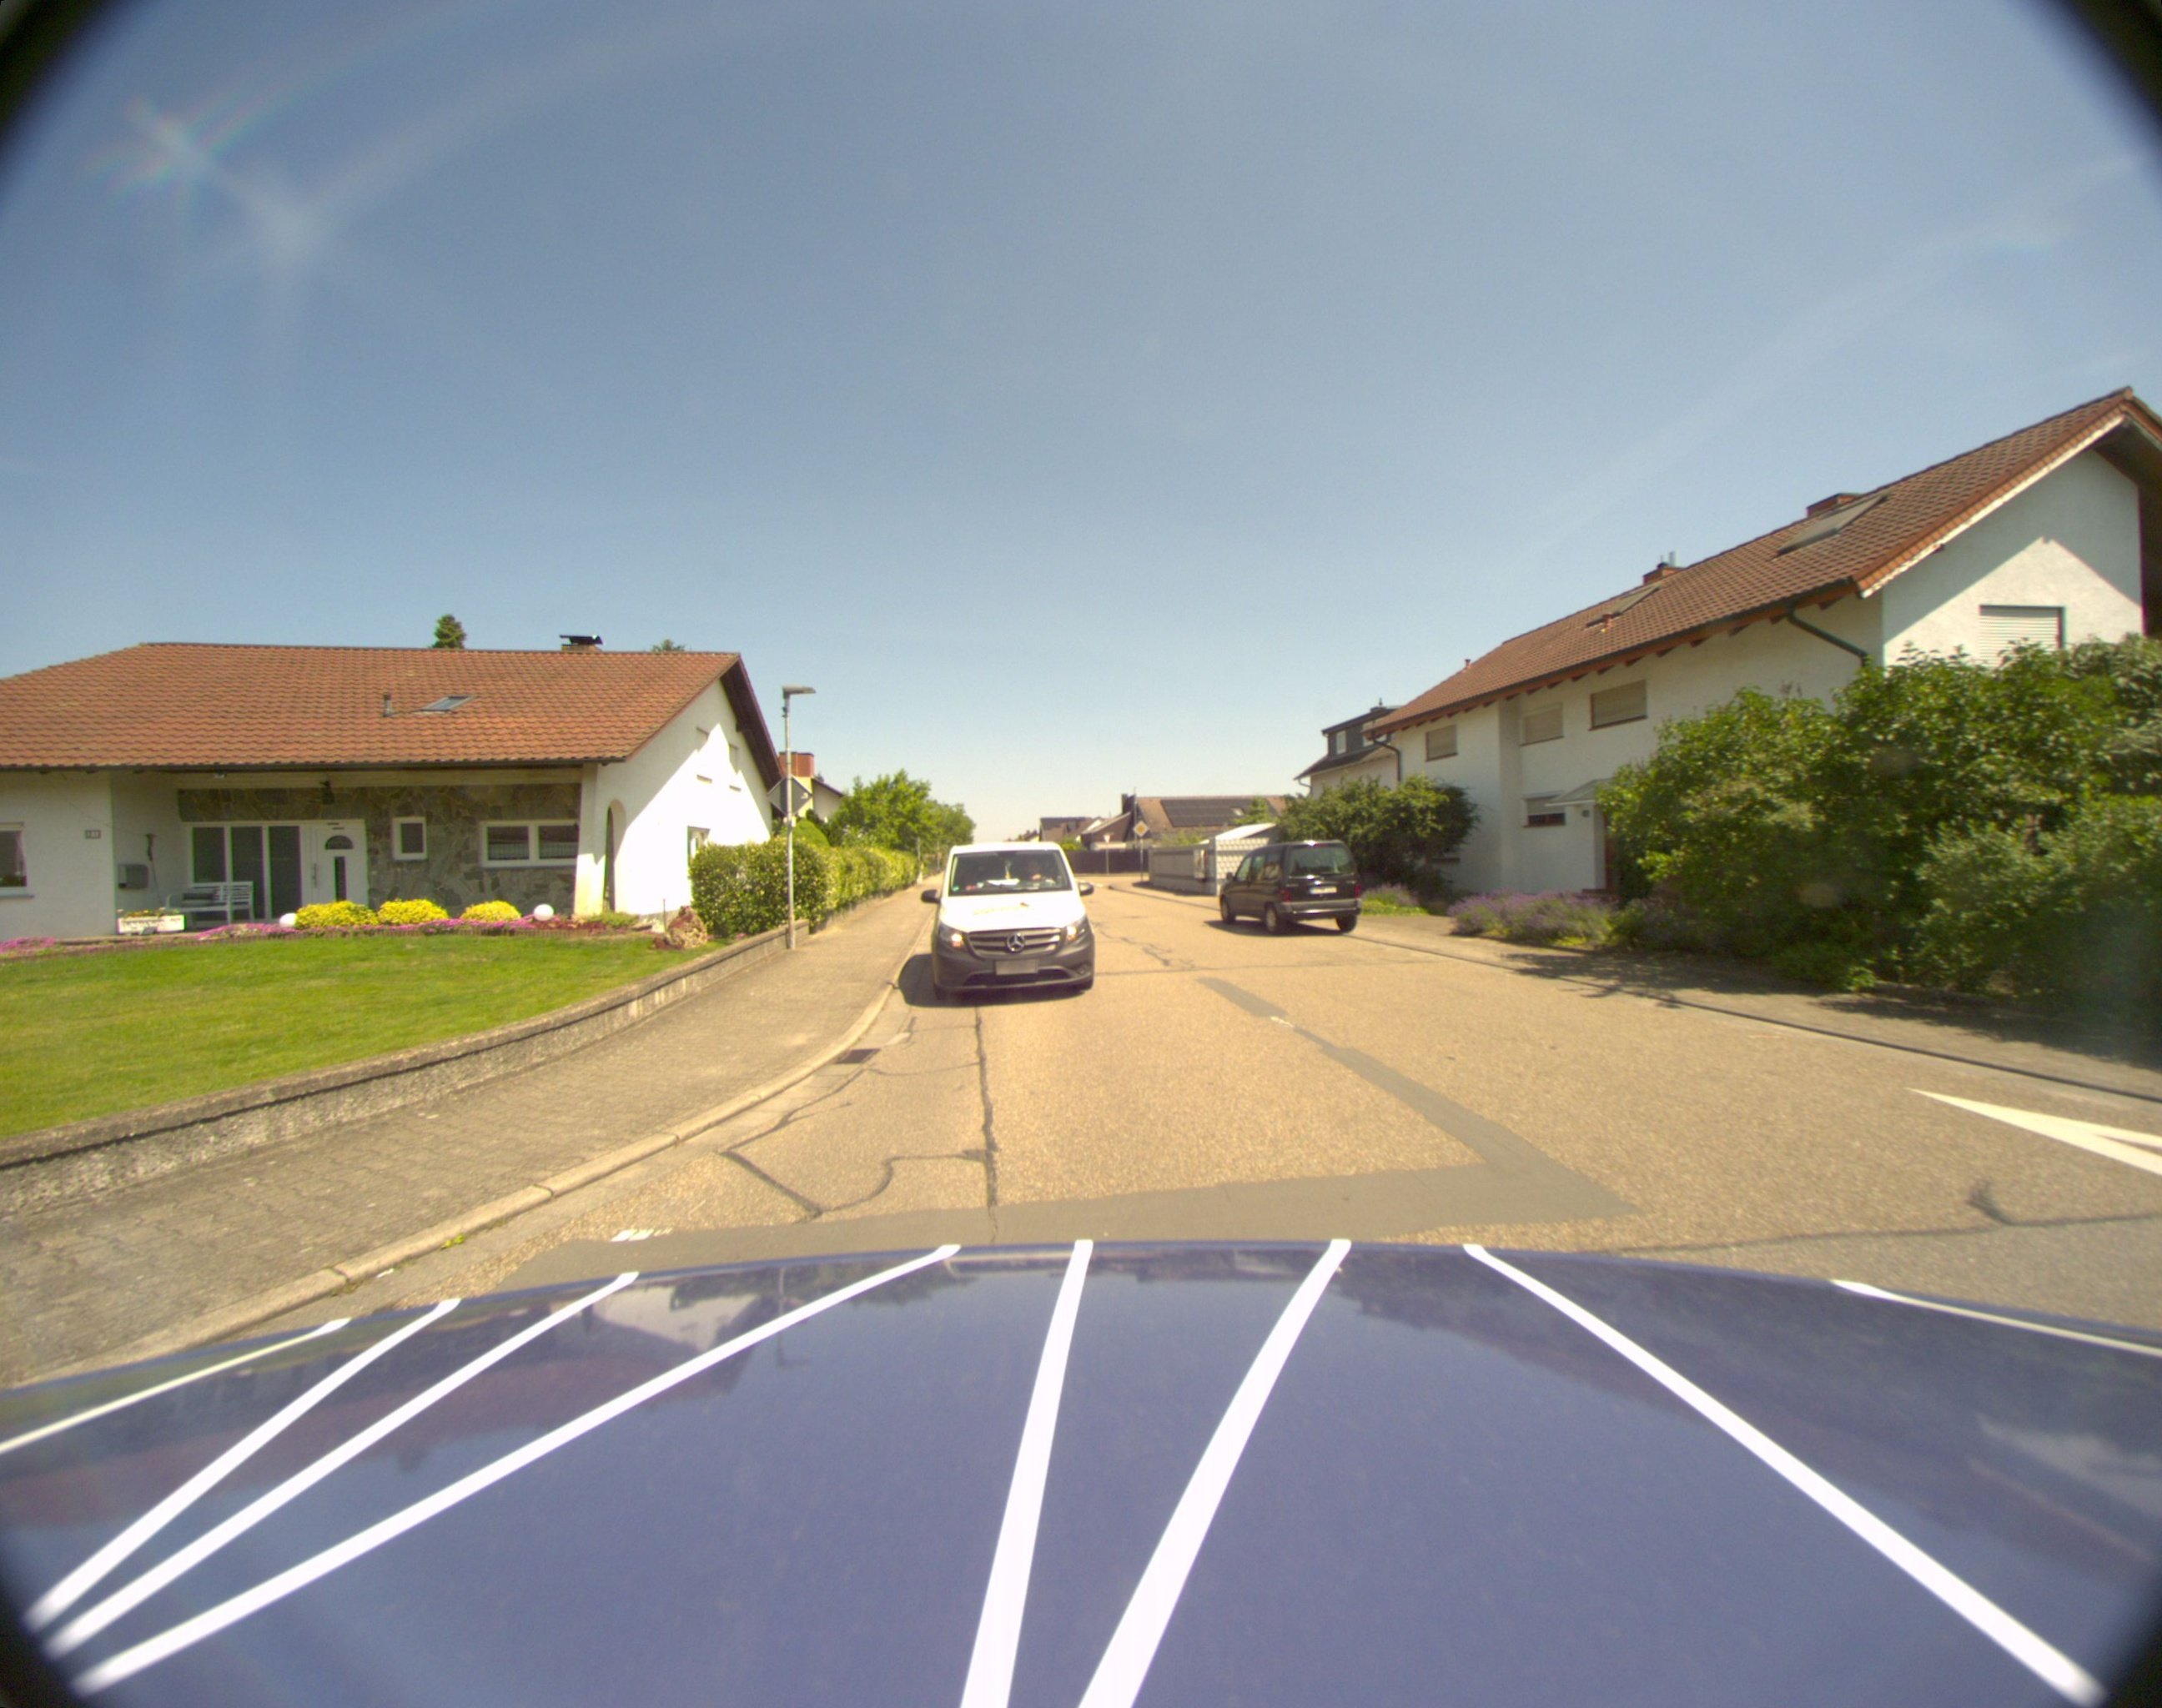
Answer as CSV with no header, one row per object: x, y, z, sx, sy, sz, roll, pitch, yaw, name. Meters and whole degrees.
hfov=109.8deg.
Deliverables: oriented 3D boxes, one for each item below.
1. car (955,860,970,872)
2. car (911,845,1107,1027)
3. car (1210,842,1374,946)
-17.267,1.784,110.979,1.999,1.587,3.997,-2,1,-6,car
-1.082,0.836,10.564,2.019,1.846,5.064,-2,1,-8,car
4.217,0.712,15.870,1.724,1.835,4.051,-2,1,-9,car
